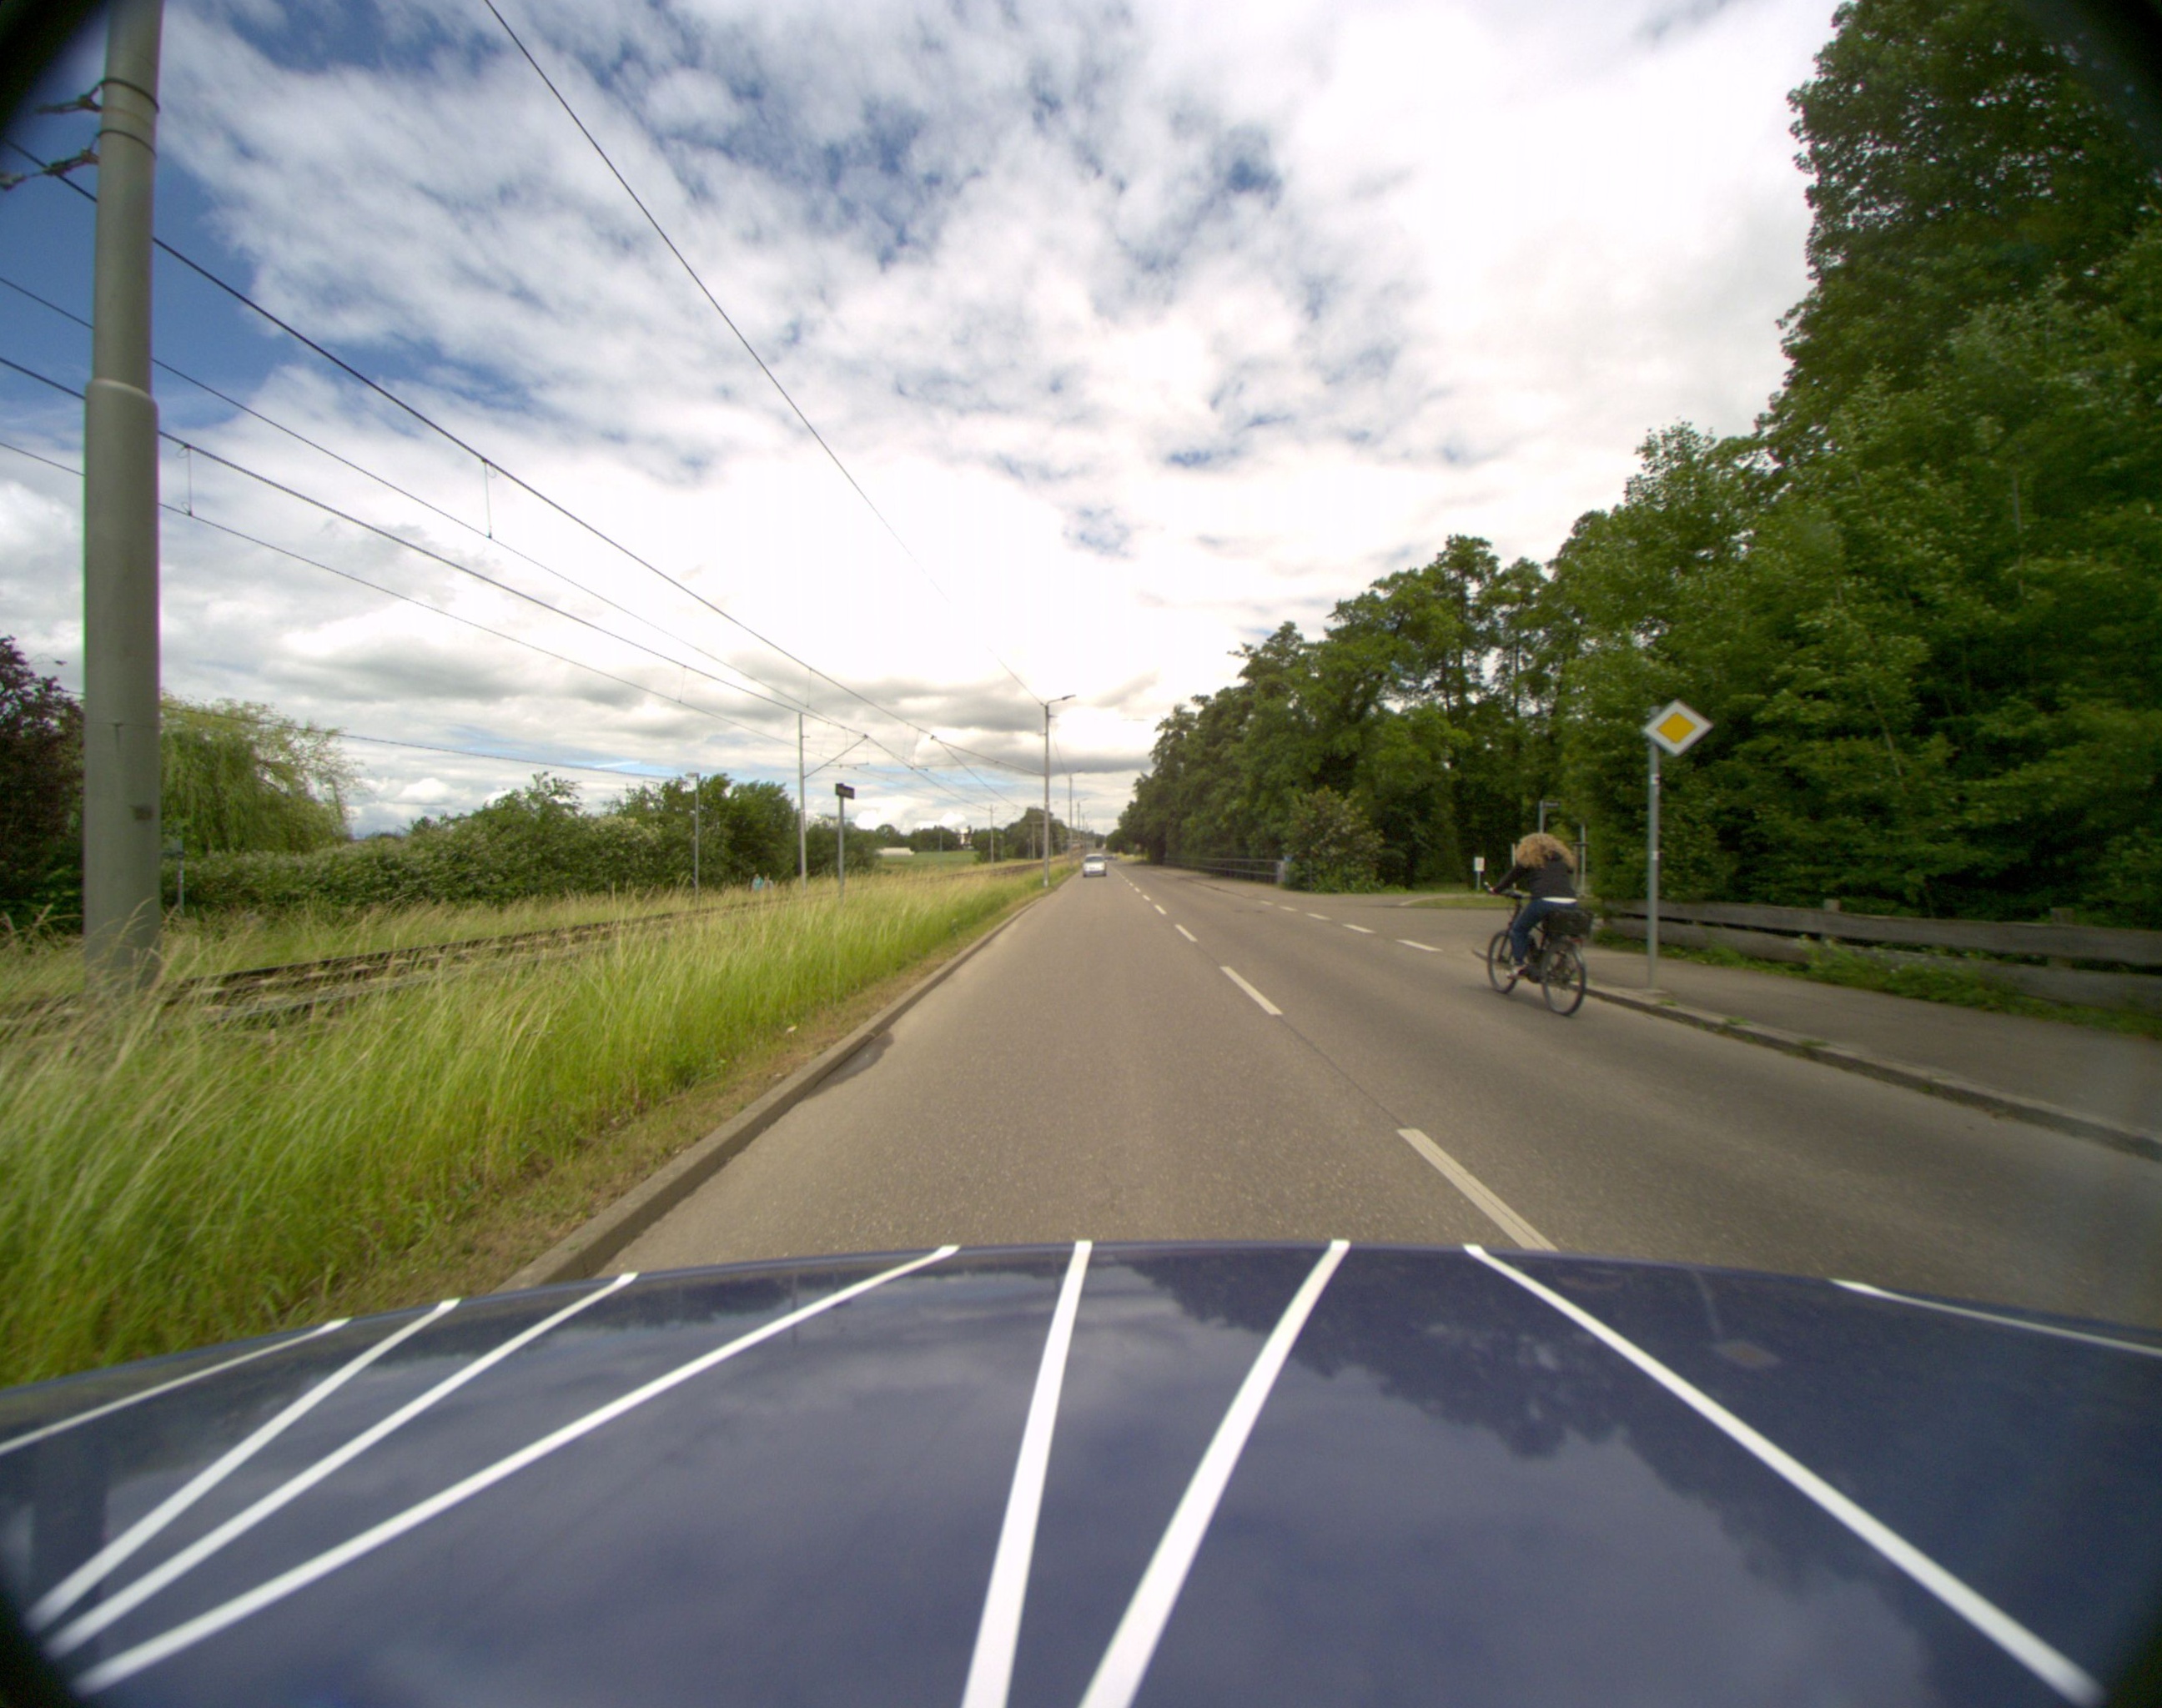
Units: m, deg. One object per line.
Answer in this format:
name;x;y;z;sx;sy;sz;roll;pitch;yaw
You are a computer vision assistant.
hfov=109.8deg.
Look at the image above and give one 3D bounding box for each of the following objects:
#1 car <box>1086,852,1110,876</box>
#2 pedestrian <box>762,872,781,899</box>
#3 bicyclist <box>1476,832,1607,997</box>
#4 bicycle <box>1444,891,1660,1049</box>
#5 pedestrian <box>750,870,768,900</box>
car;1.224;0.666;54.183;1.643;1.510;3.869;-2;1;2
pedestrian;-17.190;1.750;42.200;0.599;1.422;0.667;-2;1;12
bicyclist;4.540;0.569;7.558;0.780;1.540;0.870;0;1;1
bicycle;4.589;1.052;7.667;0.757;1.219;2.308;1;0;1
pedestrian;-17.939;1.713;42.379;0.617;1.613;0.584;-2;1;13
